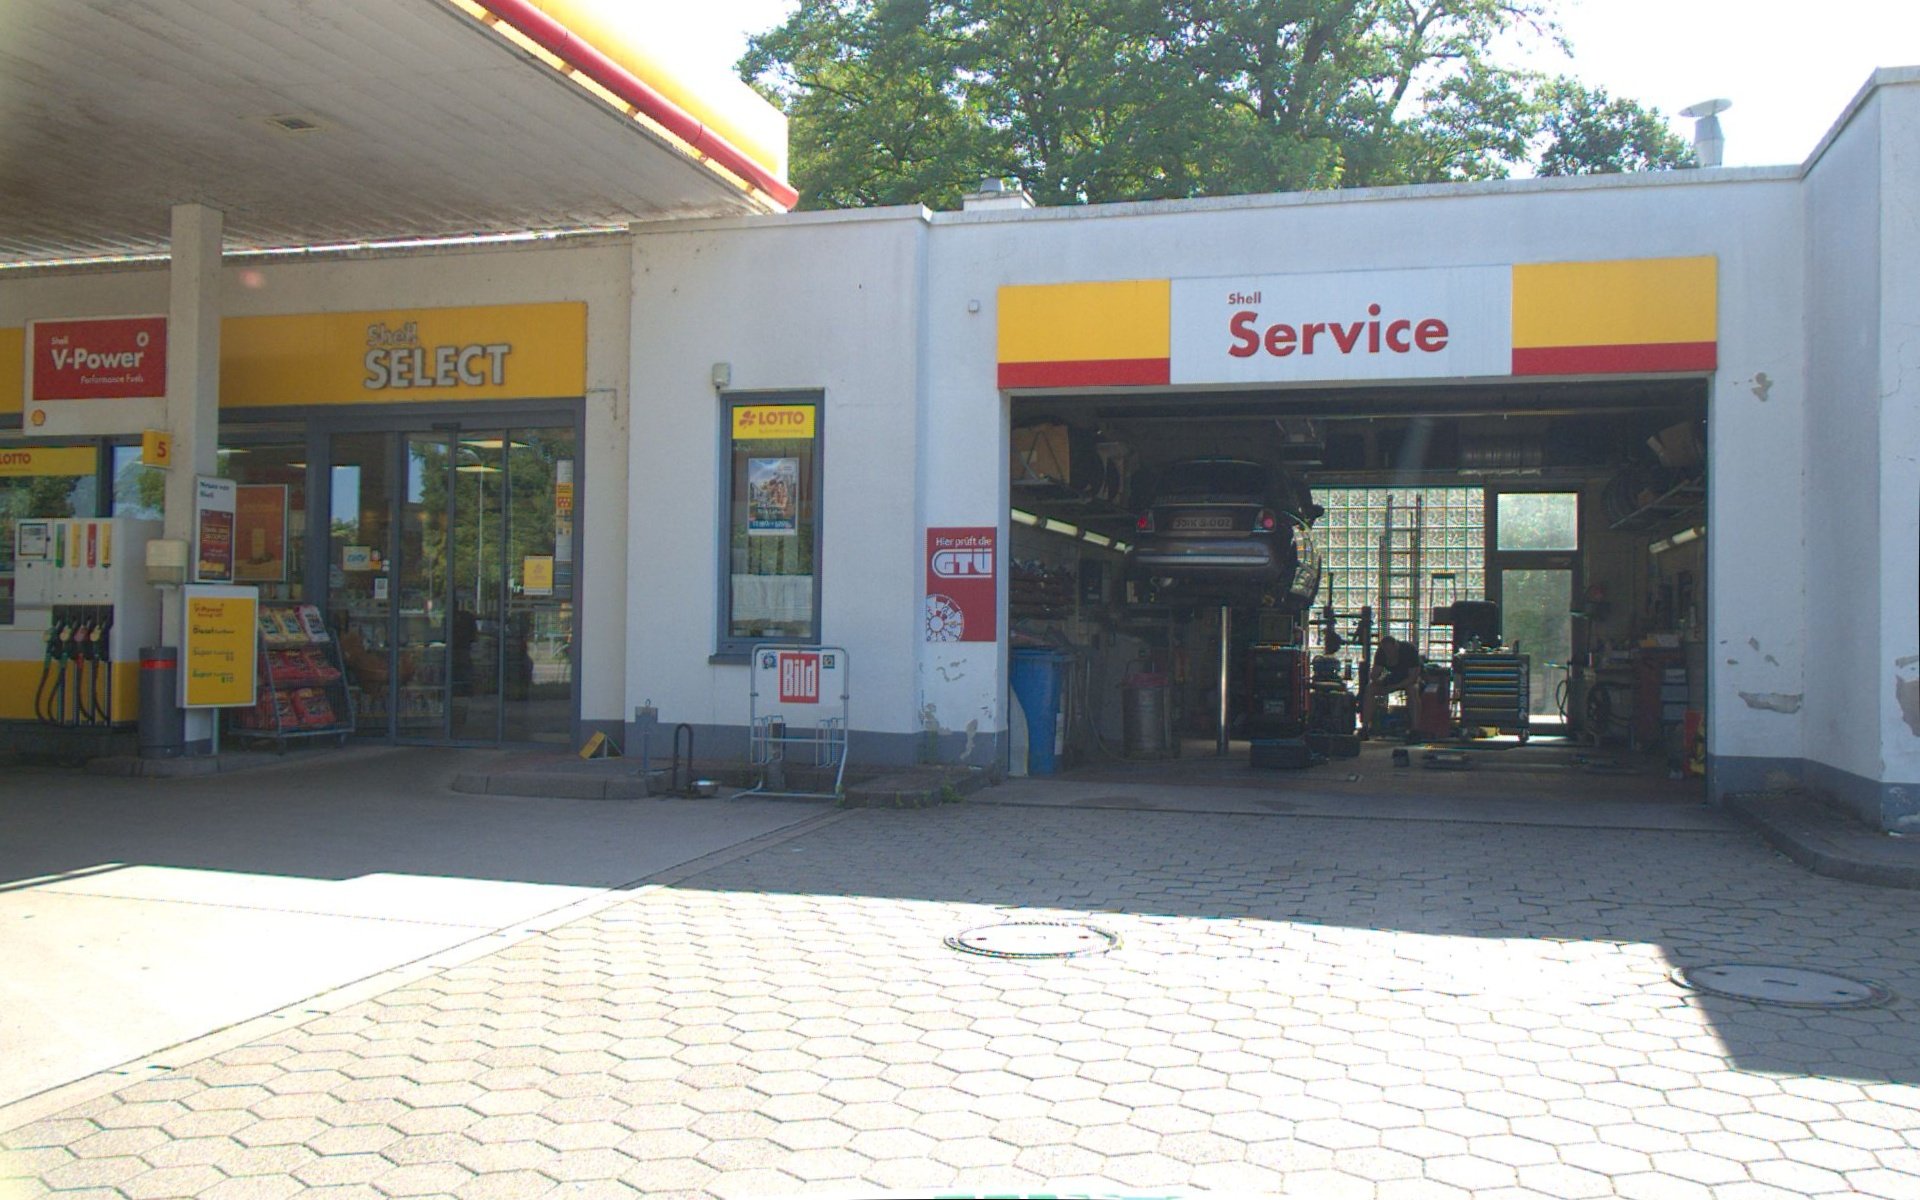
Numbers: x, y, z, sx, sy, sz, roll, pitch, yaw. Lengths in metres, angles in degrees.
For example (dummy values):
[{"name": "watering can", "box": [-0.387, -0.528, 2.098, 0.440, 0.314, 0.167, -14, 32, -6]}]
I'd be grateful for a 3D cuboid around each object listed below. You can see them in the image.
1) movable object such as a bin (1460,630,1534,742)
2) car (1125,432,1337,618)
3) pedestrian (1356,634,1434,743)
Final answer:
[{"name": "movable object such as a bin", "box": [6.163, 0.979, 19.003, 0.780, 1.258, 0.544, 0, -3, 17]}, {"name": "car", "box": [2.904, -0.651, 17.053, 1.612, 1.512, 4.001, 0, -3, 17]}, {"name": "pedestrian", "box": [4.986, 1.007, 18.971, 0.845, 1.219, 0.743, 0, -3, 15]}]
